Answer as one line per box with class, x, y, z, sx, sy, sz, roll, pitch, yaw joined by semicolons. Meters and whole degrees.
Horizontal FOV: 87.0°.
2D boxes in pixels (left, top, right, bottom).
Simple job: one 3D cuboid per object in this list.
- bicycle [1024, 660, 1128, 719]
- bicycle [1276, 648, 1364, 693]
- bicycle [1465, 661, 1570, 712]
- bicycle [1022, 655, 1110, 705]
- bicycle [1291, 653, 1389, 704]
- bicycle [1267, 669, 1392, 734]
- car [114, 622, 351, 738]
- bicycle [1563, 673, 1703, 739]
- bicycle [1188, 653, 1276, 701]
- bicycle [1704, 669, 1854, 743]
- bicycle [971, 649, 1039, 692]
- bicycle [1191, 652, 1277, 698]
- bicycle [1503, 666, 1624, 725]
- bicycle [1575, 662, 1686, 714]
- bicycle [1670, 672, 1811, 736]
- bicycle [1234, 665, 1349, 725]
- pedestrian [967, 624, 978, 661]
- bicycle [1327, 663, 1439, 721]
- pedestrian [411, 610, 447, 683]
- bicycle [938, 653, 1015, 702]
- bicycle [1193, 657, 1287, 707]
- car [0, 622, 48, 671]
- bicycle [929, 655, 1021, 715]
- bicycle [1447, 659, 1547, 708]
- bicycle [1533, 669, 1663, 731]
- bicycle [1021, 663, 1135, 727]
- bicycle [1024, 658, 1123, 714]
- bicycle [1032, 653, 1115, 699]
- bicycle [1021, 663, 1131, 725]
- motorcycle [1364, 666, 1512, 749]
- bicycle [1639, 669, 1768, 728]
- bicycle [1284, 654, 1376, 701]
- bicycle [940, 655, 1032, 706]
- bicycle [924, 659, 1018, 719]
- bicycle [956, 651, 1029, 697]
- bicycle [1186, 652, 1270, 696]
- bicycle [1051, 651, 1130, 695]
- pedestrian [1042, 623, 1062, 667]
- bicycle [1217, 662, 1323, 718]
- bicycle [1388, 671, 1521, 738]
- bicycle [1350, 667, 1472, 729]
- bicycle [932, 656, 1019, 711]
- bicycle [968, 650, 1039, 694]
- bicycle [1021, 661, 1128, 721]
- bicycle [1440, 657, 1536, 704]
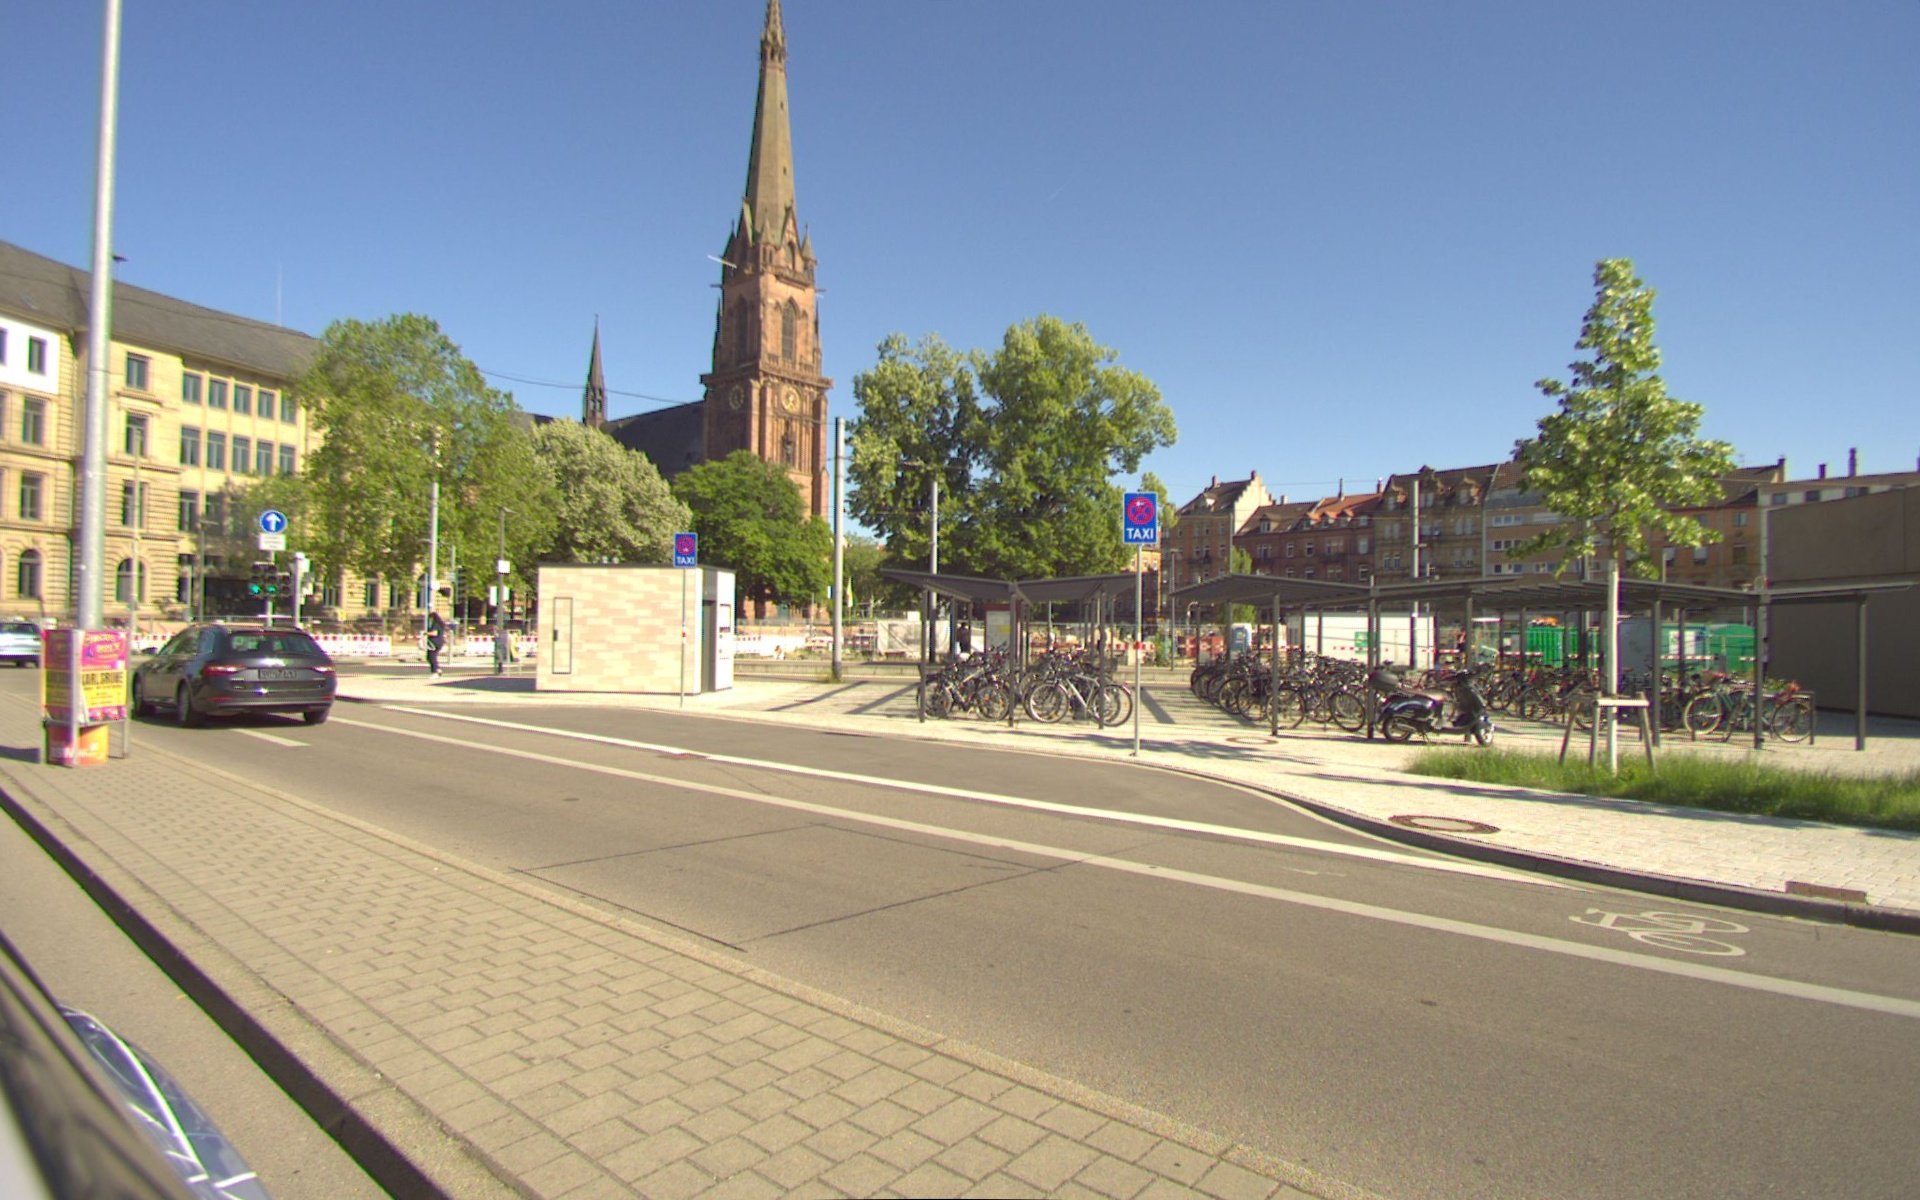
bicycle;2.140;1.646;18.745;1.882;1.016;0.456;0;-2;8
bicycle;8.490;1.653;23.912;1.882;1.016;0.456;0;-2;8
bicycle;11.718;1.815;21.315;1.882;1.016;0.456;0;-2;8
bicycle;2.301;1.723;21.922;1.882;1.016;0.456;0;-2;8
bicycle;8.061;1.661;21.521;1.882;1.016;0.456;0;-2;8
bicycle;6.125;1.682;16.841;1.882;1.016;0.456;0;-2;8
car;-11.181;1.118;15.431;4.571;1.511;1.771;-1;-3;39
bicycle;10.976;1.718;16.538;1.882;1.016;0.456;0;-2;8
bicycle;6.153;1.738;22.945;1.882;1.016;0.456;0;-2;8
bicycle;13.085;1.685;16.208;1.882;1.106;0.456;0;-2;8
bicycle;1.111;1.730;24.944;1.652;1.016;0.456;0;-2;8
bicycle;6.370;1.732;23.569;1.882;1.016;0.456;0;-2;8
bicycle;11.168;1.756;18.759;1.882;1.016;0.456;0;-2;8
bicycle;13.877;1.819;20.972;1.882;1.016;0.456;0;-2;8
bicycle;13.132;1.743;17.067;1.882;1.016;0.456;0;-2;8
bicycle;5.903;1.684;18.094;1.882;1.016;0.456;0;-2;8
pedestrian;0.590;1.995;47.618;0.399;1.734;0.419;1;-2;-11
bicycle;7.922;1.713;18.998;1.882;1.016;0.456;0;-2;8
pedestrian;-13.923;1.212;26.550;0.683;1.868;0.680;2;-2;-38
bicycle;0.375;1.691;22.226;1.652;1.016;0.456;0;-2;8
bicycle;5.969;1.747;21.611;1.882;1.016;0.456;0;-2;8
car;-31.354;1.501;33.297;1.833;1.554;4.244;4;-4;-43
bicycle;0.284;1.569;18.778;1.652;1.069;0.456;0;-2;8
bicycle;11.788;1.825;22.245;1.882;1.016;0.456;0;-2;8
bicycle;11.104;1.733;17.643;1.882;1.016;0.456;0;-2;8
bicycle;1.993;1.603;17.116;1.882;1.016;0.456;0;-2;8
bicycle;2.200;1.660;19.587;1.882;1.016;0.456;0;-2;8
bicycle;2.610;1.748;23.306;1.882;1.016;0.456;0;-2;8
bicycle;2.023;1.624;17.676;1.882;1.016;0.456;0;-2;8
motorcycle;7.165;1.603;15.227;1.924;1.160;0.516;0;-2;6
bicycle;13.473;1.777;18.366;1.882;1.016;0.456;0;-2;8
bicycle;8.320;1.736;22.820;1.882;1.016;0.456;0;-2;8
bicycle;0.547;1.676;21.228;1.882;1.016;0.456;0;-2;8
bicycle;0.205;1.586;18.193;1.652;1.016;0.456;0;-2;8
bicycle;0.750;1.710;23.484;1.652;1.016;0.456;0;-2;8
bicycle;6.397;1.763;24.227;1.882;1.016;0.456;0;-2;8
bicycle;3.166;1.777;24.601;1.882;1.016;0.456;0;-2;8
pedestrian;3.768;1.837;41.483;0.792;1.793;0.977;0;-2;3
bicycle;5.901;1.709;19.325;1.882;1.016;0.456;0;-2;8
bicycle;8.032;1.692;16.495;1.882;1.016;0.456;0;-2;8
bicycle;7.898;1.709;17.765;1.882;1.016;0.456;0;-2;8
bicycle;0.309;1.633;19.890;1.652;1.016;0.456;0;-2;8
bicycle;1.046;1.715;24.228;1.652;1.016;0.456;0;-2;8
bicycle;2.058;1.633;18.263;1.882;1.016;0.456;0;-2;8
bicycle;12.083;1.837;23.196;1.882;1.016;0.456;0;-2;8
